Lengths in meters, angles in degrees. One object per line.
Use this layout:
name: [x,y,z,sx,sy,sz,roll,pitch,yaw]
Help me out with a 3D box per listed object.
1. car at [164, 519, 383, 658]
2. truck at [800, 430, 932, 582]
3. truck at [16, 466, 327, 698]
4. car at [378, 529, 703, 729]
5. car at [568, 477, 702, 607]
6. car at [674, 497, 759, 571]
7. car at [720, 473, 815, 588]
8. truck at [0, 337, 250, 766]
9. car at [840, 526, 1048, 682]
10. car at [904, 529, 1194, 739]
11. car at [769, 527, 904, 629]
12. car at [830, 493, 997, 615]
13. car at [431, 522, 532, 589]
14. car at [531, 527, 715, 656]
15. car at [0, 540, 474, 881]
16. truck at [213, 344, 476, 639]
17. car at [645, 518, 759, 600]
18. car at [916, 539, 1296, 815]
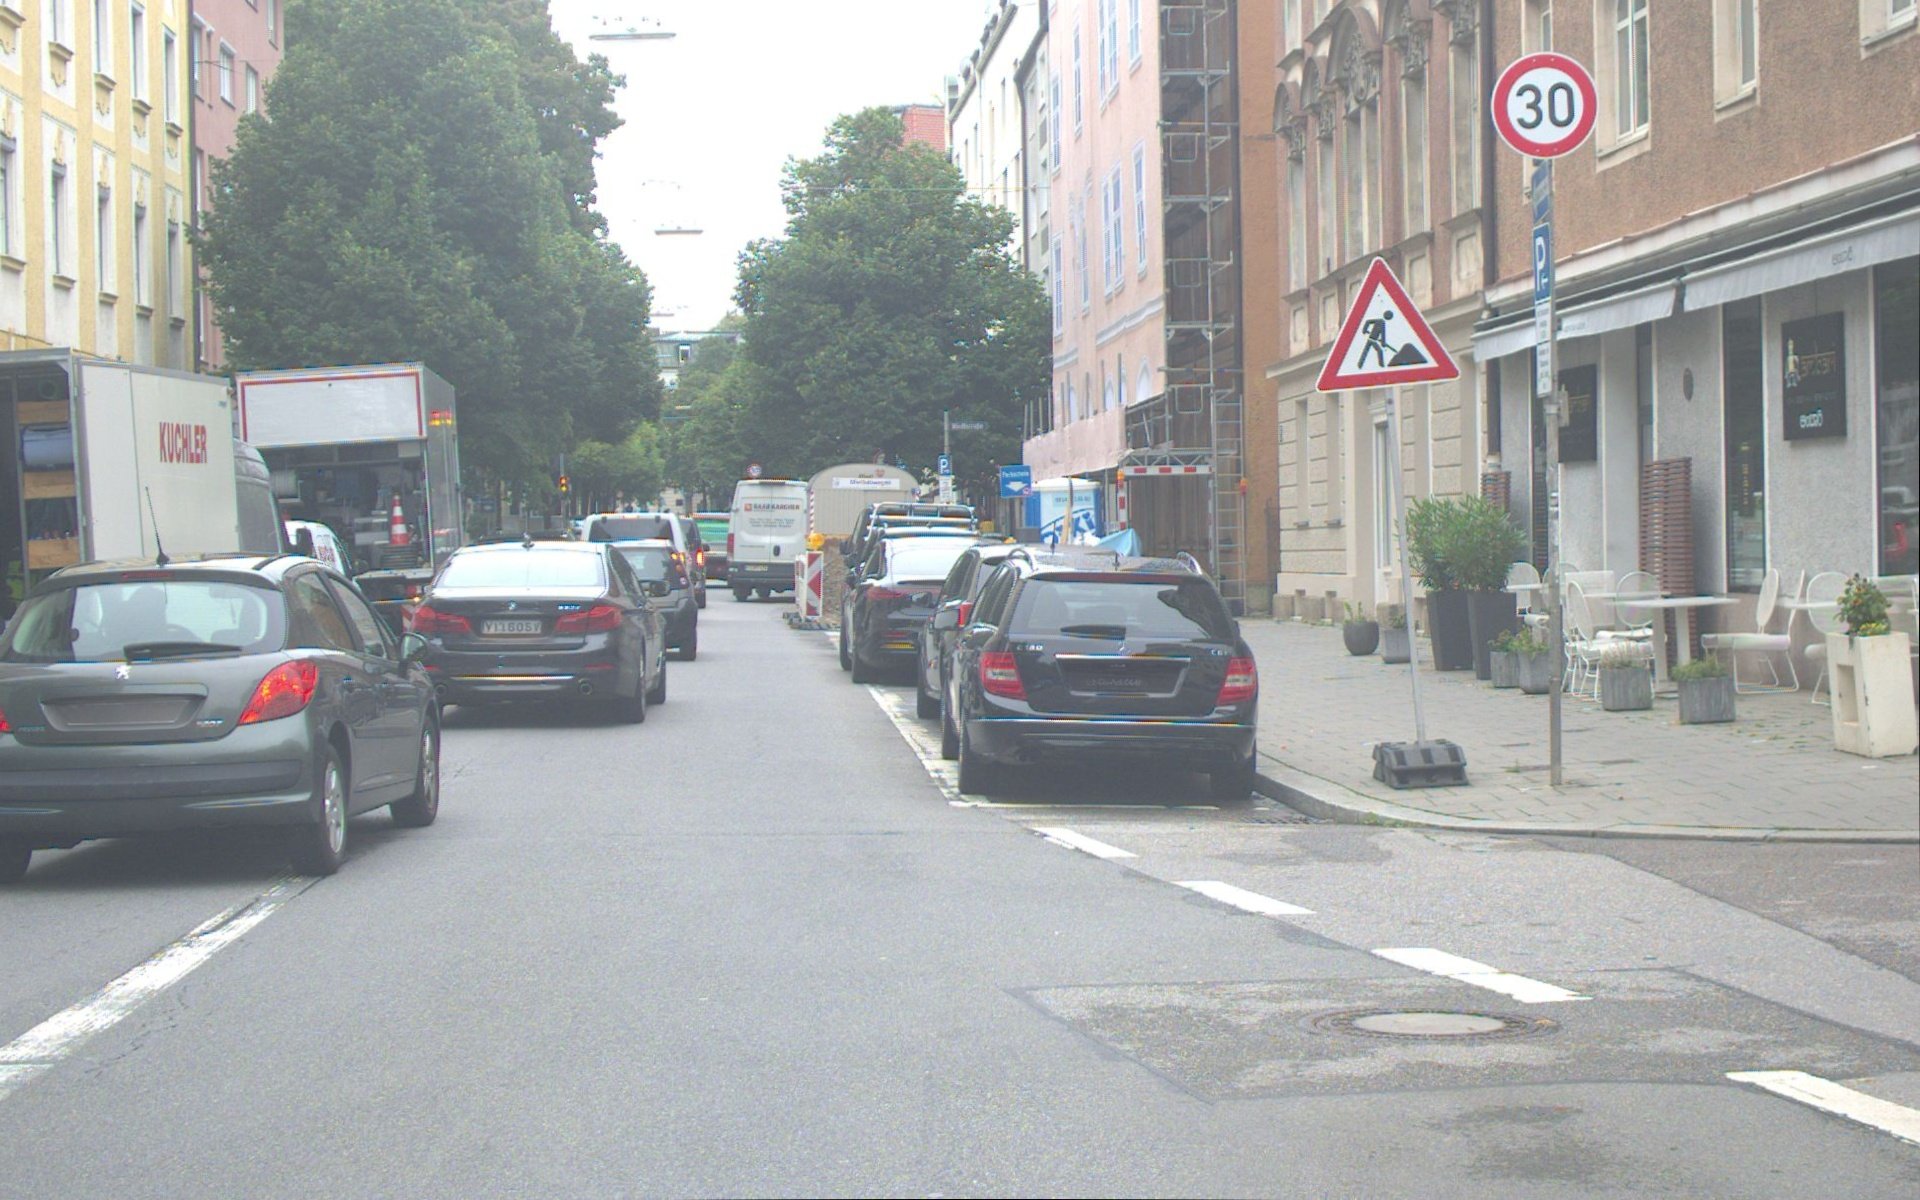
car: [-8.335,-0.173,42.059,1.990,1.605,4.141,0,1,-2]
truck: [-1.959,-1.885,69.720,2.491,2.963,5.328,0,1,-3]
truck: [-7.847,-0.216,34.692,2.286,2.164,4.807,0,1,-4]
car: [-3.331,0.169,28.232,1.990,1.424,4.906,0,2,1]
car: [-5.423,-1.014,57.846,1.990,2.068,4.141,-1,2,-2]
car: [-6.404,-1.735,90.756,1.993,1.897,4.000,0,1,-1]
car: [-4.255,-1.544,76.652,1.939,2.472,4.783,0,1,-1]
truck: [-7.387,-0.428,26.509,2.773,2.863,7.203,-1,2,-4]
car: [-0.232,-0.006,35.898,1.844,1.424,4.307,2,2,-4]
car: [0.619,0.207,27.188,1.844,1.424,4.141,2,2,-4]
car: [-1.920,-0.373,53.286,1.990,1.424,4.141,-1,2,-2]
car: [-0.634,-0.620,43.703,1.990,1.424,4.141,-1,2,-2]
car: [-10.645,-1.005,76.695,1.939,1.443,3.867,0,1,-4]
car: [-4.098,-0.147,42.395,1.990,1.424,4.141,-1,2,-2]
car: [-3.610,0.447,16.973,1.759,1.456,4.074,-1,1,1]
truck: [-8.748,-1.529,49.622,3.012,3.938,6.997,0,1,-4]
car: [-4.877,-0.809,65.484,1.990,1.424,4.141,-1,2,-2]
car: [0.795,0.402,21.407,1.844,1.424,4.184,2,2,-4]
